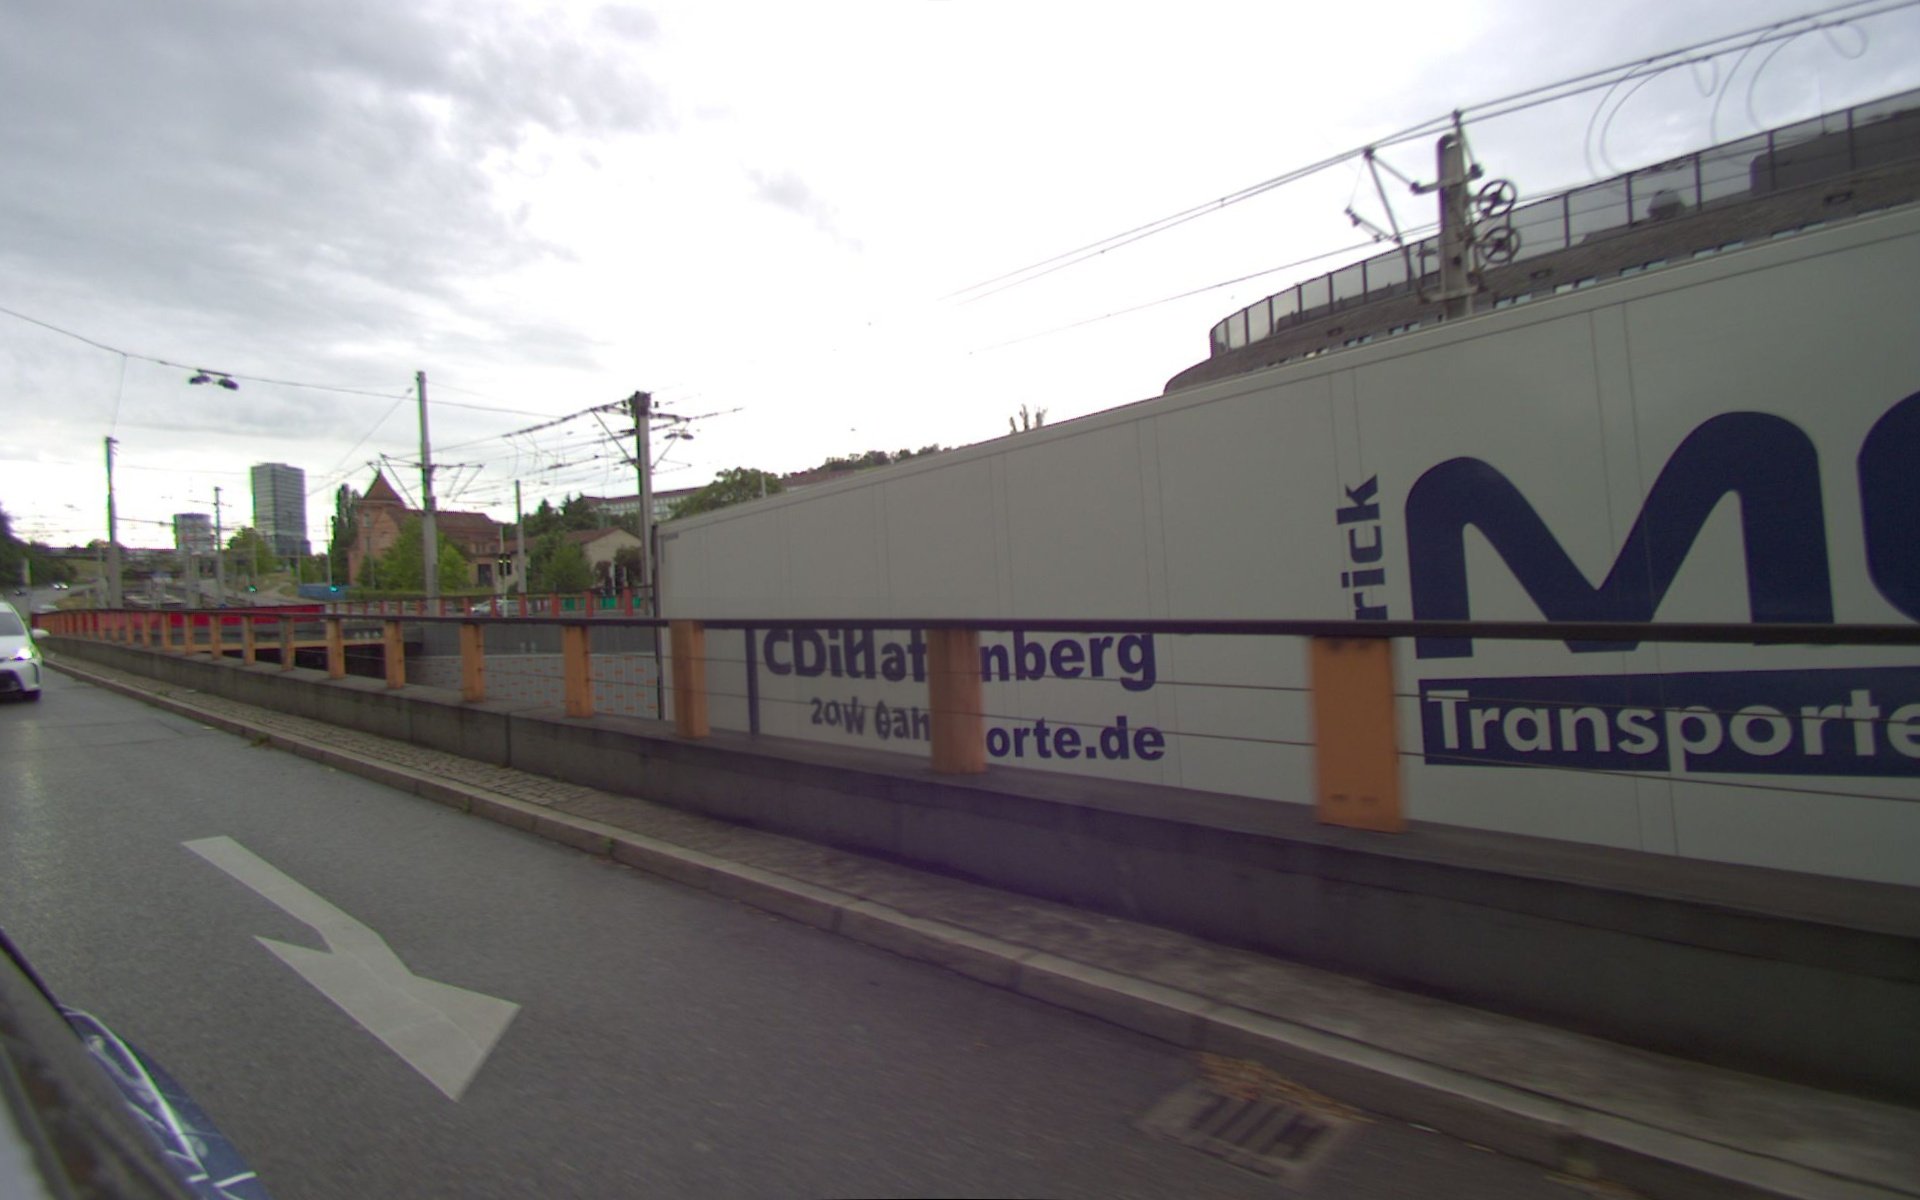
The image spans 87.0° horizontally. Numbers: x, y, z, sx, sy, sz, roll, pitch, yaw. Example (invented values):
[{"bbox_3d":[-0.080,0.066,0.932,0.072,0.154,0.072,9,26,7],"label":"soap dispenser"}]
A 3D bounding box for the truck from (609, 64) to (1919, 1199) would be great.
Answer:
[{"bbox_3d":[2.308,0.269,6.539,13.028,4.229,2.732,-2,-1,42],"label":"truck"}]

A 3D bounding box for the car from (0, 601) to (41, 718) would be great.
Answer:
[{"bbox_3d":[-16.330,0.897,16.436,4.002,1.764,1.830,0,-1,44],"label":"car"}]

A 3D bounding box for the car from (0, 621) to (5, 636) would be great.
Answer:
[{"bbox_3d":[-103.814,3.033,108.550,4.001,1.482,1.777,1,2,44],"label":"car"}]

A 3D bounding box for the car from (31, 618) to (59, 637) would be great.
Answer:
[{"bbox_3d":[-88.362,2.648,97.754,1.712,1.599,4.008,-2,3,-38],"label":"car"}]

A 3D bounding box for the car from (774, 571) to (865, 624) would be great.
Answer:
[{"bbox_3d":[-8.017,-0.100,57.437,5.717,2.853,1.972,-1,-1,43],"label":"car"}]

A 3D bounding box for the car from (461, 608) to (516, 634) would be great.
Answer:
[{"bbox_3d":[-41.271,1.807,88.626,3.936,2.028,2.004,-2,3,-39],"label":"car"}]
